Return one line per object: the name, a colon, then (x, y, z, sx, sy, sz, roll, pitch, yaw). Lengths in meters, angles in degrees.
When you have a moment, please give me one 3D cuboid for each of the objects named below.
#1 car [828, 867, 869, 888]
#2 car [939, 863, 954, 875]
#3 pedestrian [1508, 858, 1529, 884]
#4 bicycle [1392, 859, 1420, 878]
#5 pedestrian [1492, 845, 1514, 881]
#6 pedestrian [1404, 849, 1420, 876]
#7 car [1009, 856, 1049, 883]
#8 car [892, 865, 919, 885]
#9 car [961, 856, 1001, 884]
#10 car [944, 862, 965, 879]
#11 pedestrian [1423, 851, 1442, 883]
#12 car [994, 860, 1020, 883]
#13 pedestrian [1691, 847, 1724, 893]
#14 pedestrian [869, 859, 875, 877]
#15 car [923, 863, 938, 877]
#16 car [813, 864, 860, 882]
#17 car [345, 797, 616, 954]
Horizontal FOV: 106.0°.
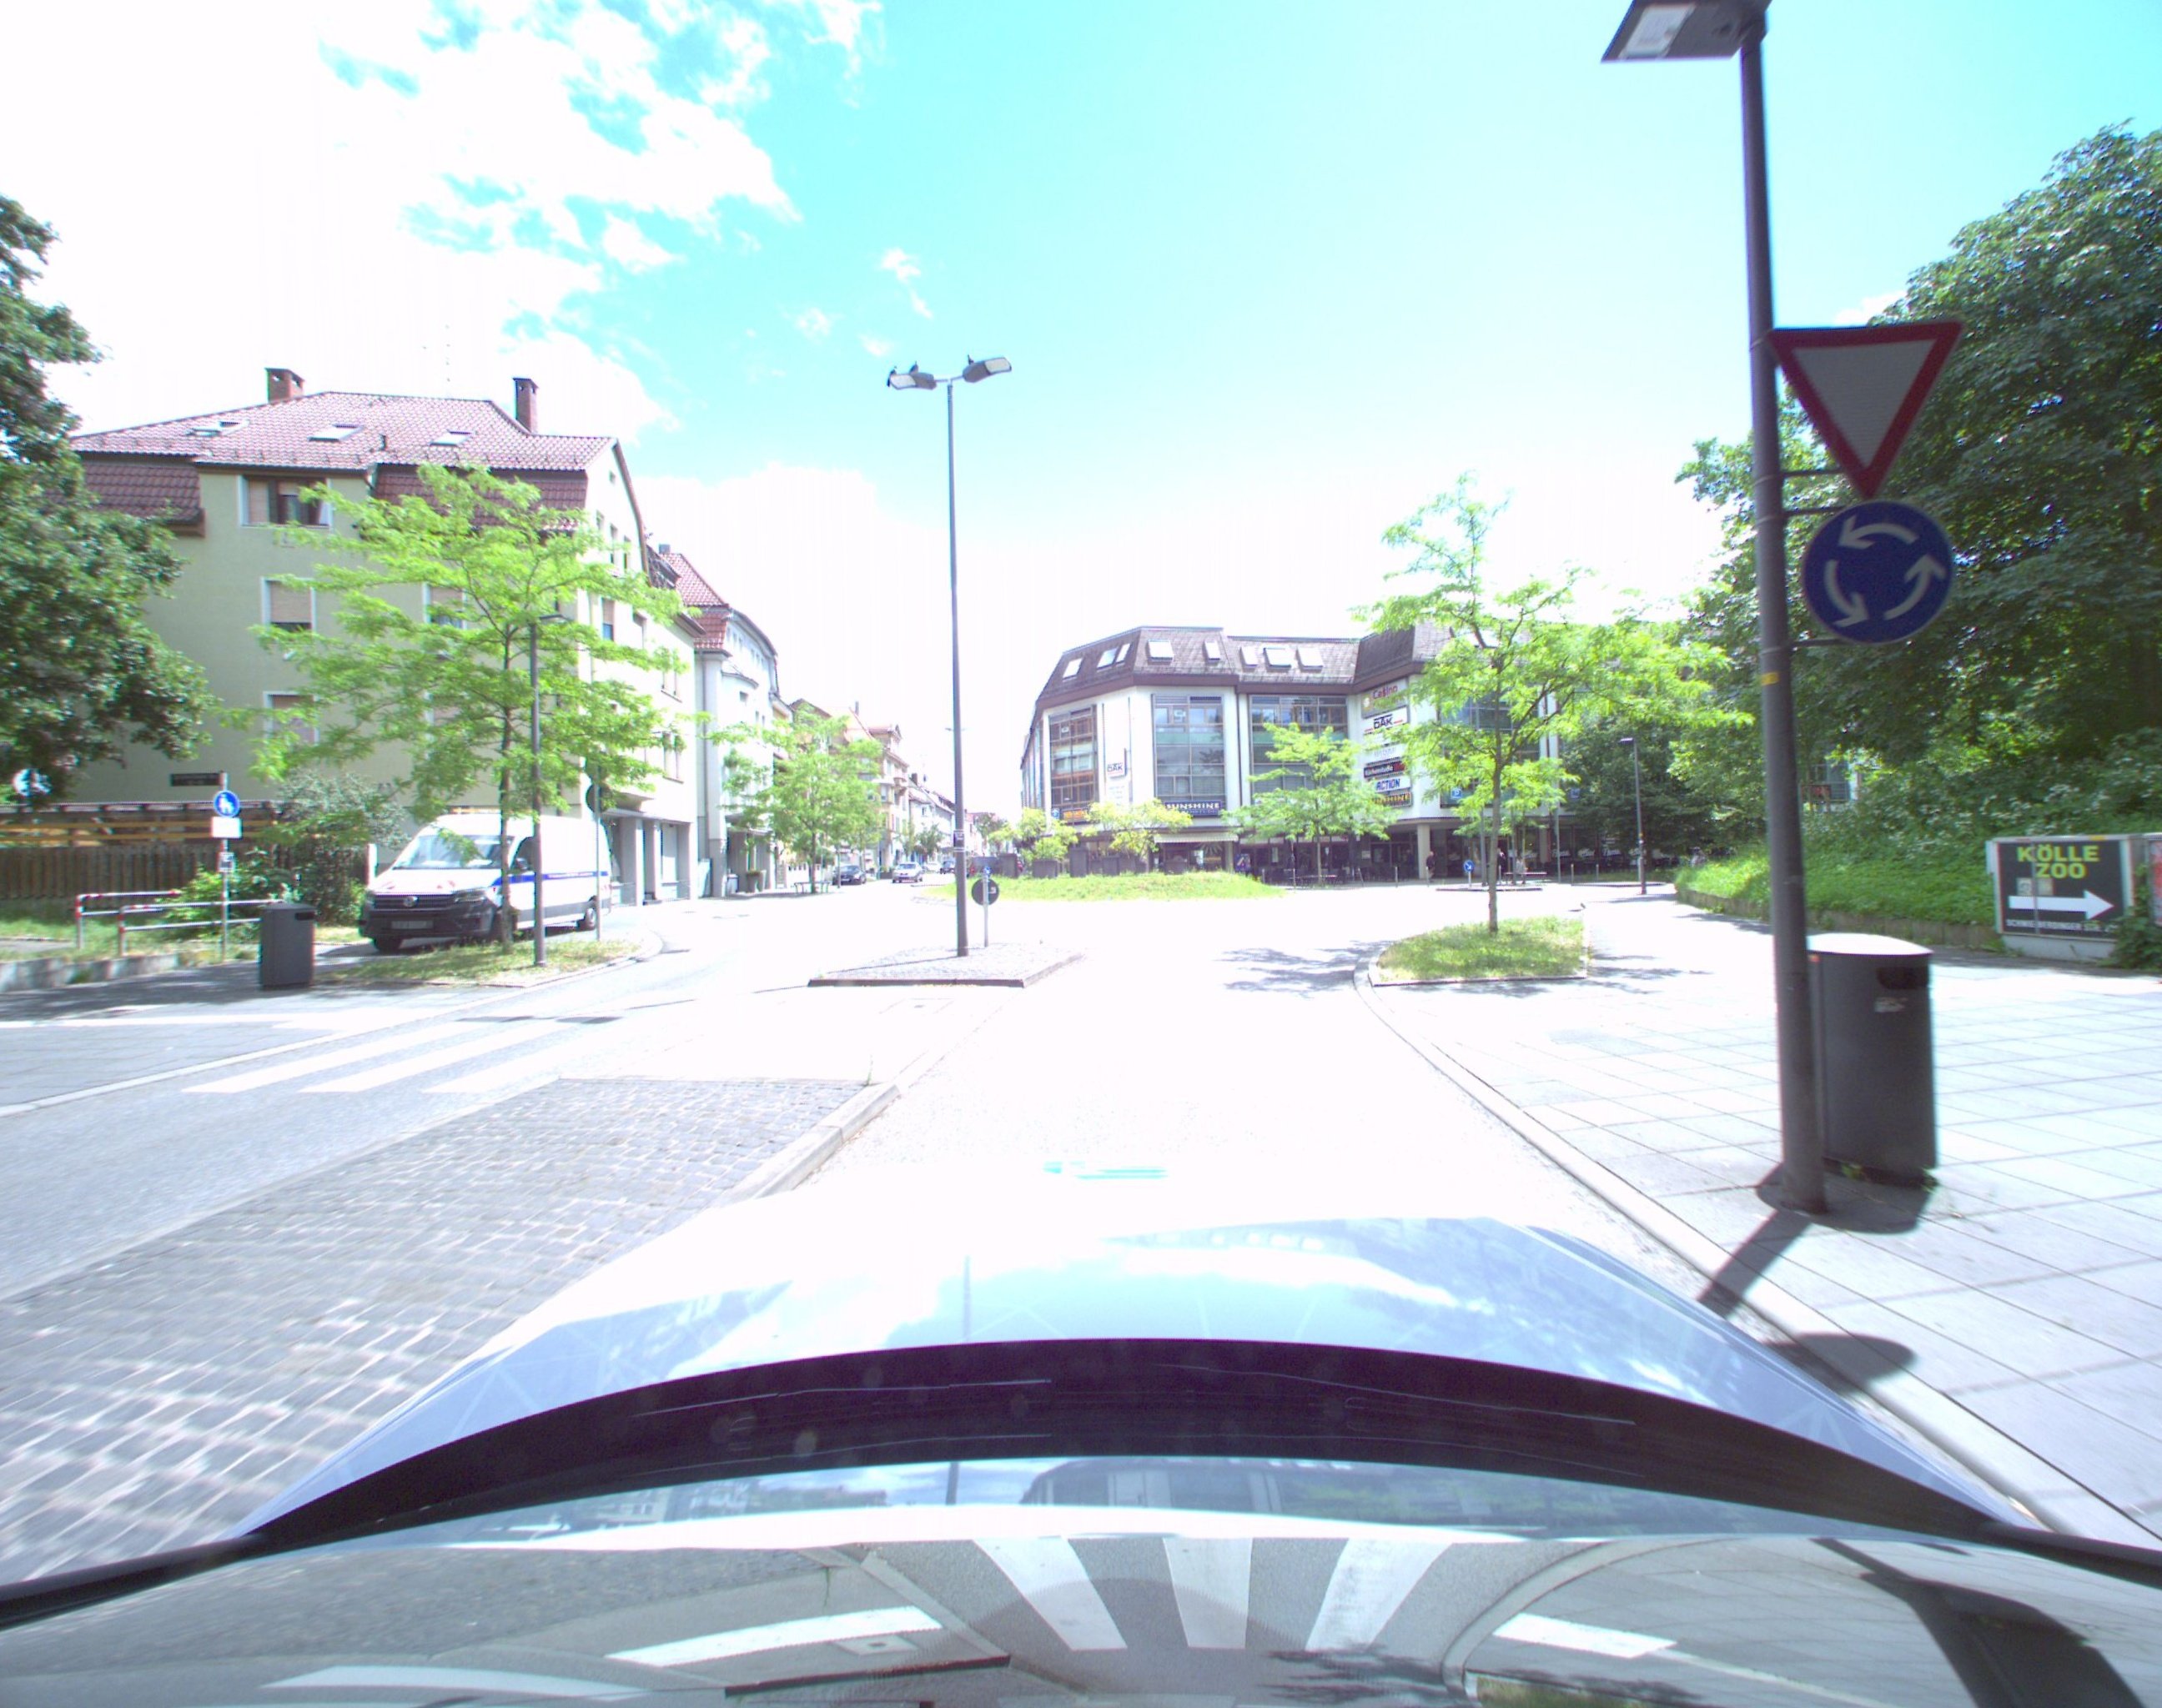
car: (-15.335, 1.555, 53.962, 1.706, 1.245, 4.404, -1, 0, -4)
car: (-15.936, 1.793, 96.814, 1.709, 1.354, 3.987, -1, 0, -9)
pedestrian: (21.986, 0.829, 40.923, 0.614, 1.285, 0.697, -1, -1, -4)
bicycle: (20.200, 0.875, 50.612, 1.524, 1.168, 0.499, -1, -2, 27)
pedestrian: (22.002, 0.456, 42.486, 0.616, 1.818, 0.695, -5, 0, -11)
pedestrian: (20.643, 0.536, 50.779, 0.697, 1.674, 0.614, 0, -1, -17)
car: (-3.417, 0.966, 52.674, 1.994, 1.688, 4.676, -1, 0, -10)
car: (-12.659, 1.479, 58.910, 1.709, 1.354, 3.987, -1, 0, -9)
car: (-6.468, 1.046, 52.247, 1.828, 1.707, 4.414, 1, -1, -17)
car: (-12.282, 1.573, 79.315, 1.822, 1.519, 4.223, -2, -1, -7)
pedestrian: (19.010, 0.702, 44.018, 0.700, 1.674, 0.611, 0, -1, -30)
car: (-5.843, 1.387, 64.914, 1.820, 1.731, 4.229, -2, -1, -2)
pedestrian: (21.435, 0.537, 27.875, 0.756, 1.554, 0.784, -1, -1, 30)
pedestrian: (-20.318, 1.379, 79.247, 0.551, 1.686, 0.514, -1, -1, -9)
car: (-19.216, 2.045, 104.120, 1.709, 1.712, 3.987, -1, 0, -9)
car: (-25.293, 1.926, 84.266, 4.436, 1.776, 1.985, -1, -1, -22)
car: (-11.706, 0.387, 16.575, 1.968, 2.607, 5.909, 0, -1, -10)
